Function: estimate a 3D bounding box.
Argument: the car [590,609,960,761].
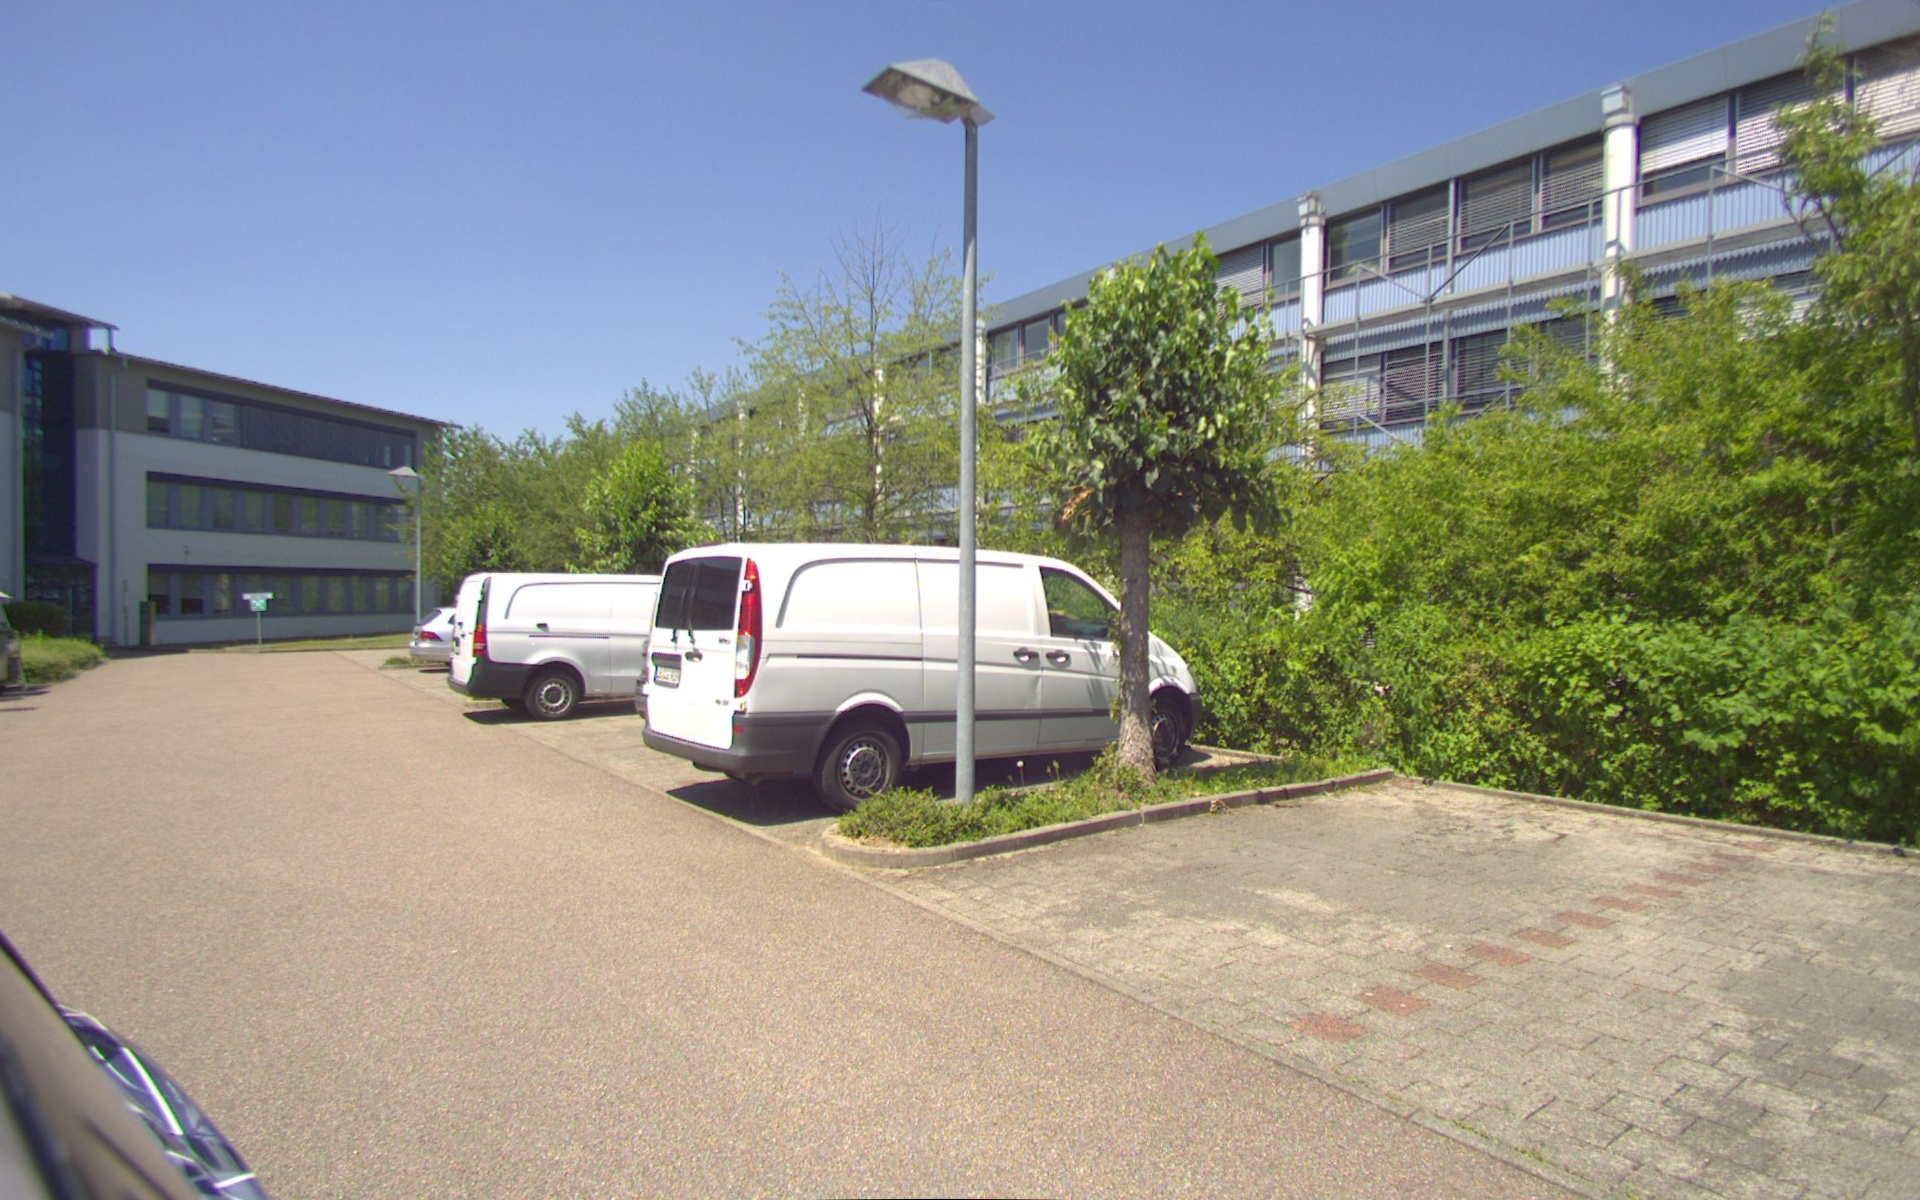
[{"bbox_3d":[-1.979,0.817,11.354,3.789,1.404,1.580,0,0,-38],"label":"car"}]

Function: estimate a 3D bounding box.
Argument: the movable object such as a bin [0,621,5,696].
[{"bbox_3d":[-17.227,1.030,17.148,1.341,1.306,1.046,0,-1,-32],"label":"movable object such as a bin"}]

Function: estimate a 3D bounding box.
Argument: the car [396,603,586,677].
[{"bbox_3d":[-10.785,0.860,23.352,3.704,1.569,1.664,0,0,-38],"label":"car"}]

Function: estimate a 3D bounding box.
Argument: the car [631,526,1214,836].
[{"bbox_3d":[-0.114,0.502,8.421,4.659,1.920,1.833,0,0,-38],"label":"car"}]

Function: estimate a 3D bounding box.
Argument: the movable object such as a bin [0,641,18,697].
[{"bbox_3d":[-17.425,1.238,18.119,0.679,0.956,0.724,0,-1,-31],"label":"movable object such as a bin"}]

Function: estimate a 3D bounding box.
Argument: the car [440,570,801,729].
[{"bbox_3d":[-4.639,0.592,14.159,4.447,1.896,1.833,0,0,-38],"label":"car"}]
